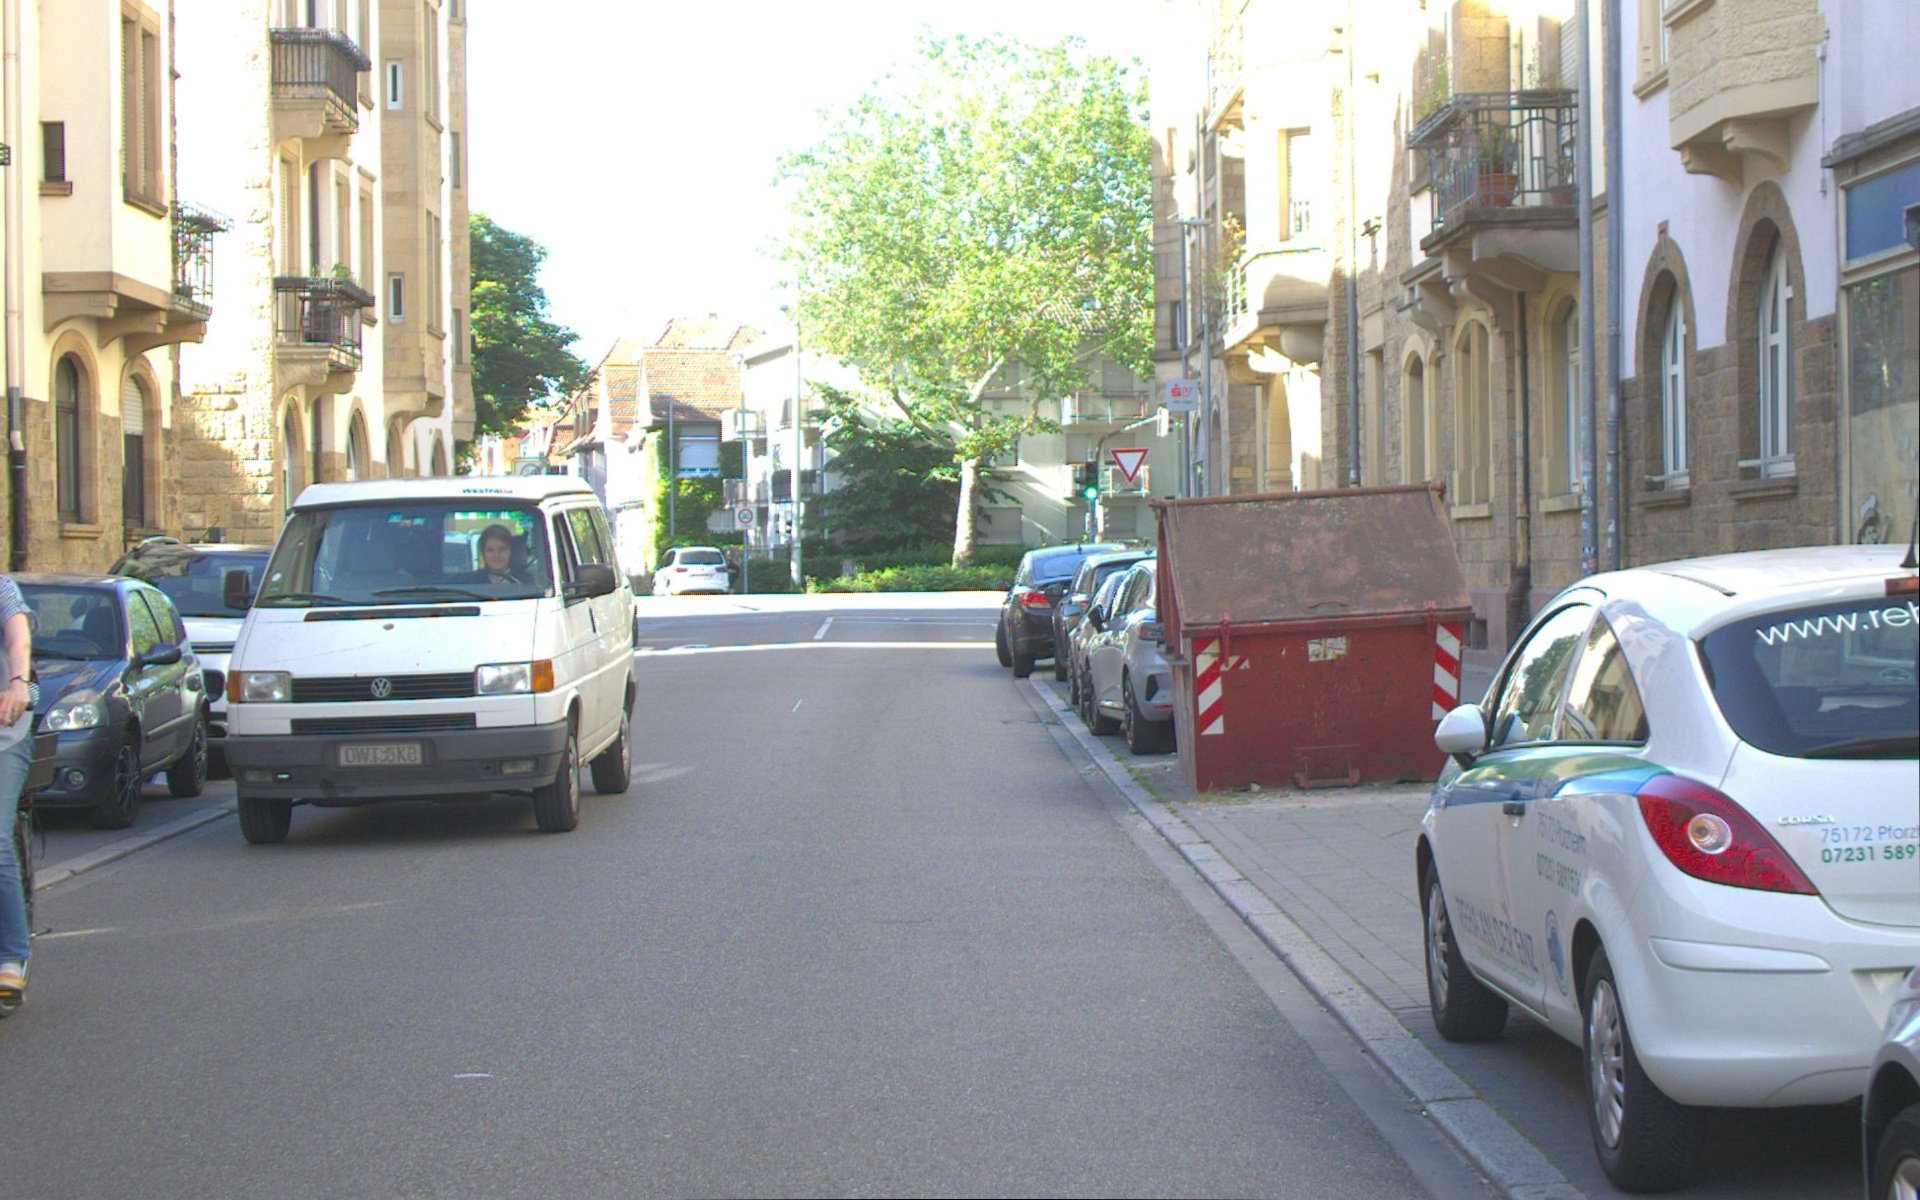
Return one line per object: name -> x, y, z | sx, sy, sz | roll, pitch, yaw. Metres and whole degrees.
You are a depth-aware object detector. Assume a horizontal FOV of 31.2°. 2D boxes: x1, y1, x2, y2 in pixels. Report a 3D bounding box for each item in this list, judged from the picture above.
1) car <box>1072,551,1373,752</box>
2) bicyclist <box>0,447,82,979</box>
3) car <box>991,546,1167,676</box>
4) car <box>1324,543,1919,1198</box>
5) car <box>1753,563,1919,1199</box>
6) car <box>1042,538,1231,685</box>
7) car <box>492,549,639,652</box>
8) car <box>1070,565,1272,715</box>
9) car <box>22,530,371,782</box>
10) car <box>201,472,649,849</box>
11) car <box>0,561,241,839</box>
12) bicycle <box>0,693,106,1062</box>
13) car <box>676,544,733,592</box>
car -> 1.956, 0.342, 26.670 | 1.786, 1.425, 3.808 | 0, 1, -4
bicyclist -> -3.208, 0.349, 11.026 | 0.608, 1.660, 0.632 | 0, 1, 0
car -> 1.383, 0.089, 41.377 | 1.865, 1.457, 4.340 | -1, 1, -1
car -> 2.095, 0.581, 9.658 | 1.586, 1.459, 3.712 | -1, 1, -2
car -> 2.329, 0.691, 4.272 | 1.652, 1.459, 4.095 | -1, 1, -1
car -> 1.821, 0.078, 36.573 | 1.651, 1.437, 4.259 | -1, 1, -2
car -> -5.797, -0.021, 50.884 | 1.634, 1.459, 3.734 | 0, 1, 2
car -> 1.871, 0.326, 31.408 | 1.693, 1.250, 3.941 | 0, 1, 1
car -> -5.374, 0.330, 24.660 | 1.714, 1.578, 4.021 | 3, 1, -3
car -> -2.961, 0.268, 19.994 | 1.863, 1.930, 4.600 | 0, 1, 0
car -> -5.466, 0.511, 20.184 | 1.672, 1.388, 3.666 | 3, 1, 0
bicycle -> -3.209, 0.872, 10.882 | 0.540, 1.073, 1.800 | 0, 1, 1
car -> -7.999, -0.982, 107.781 | 1.674, 1.477, 3.522 | 0, 0, -3
